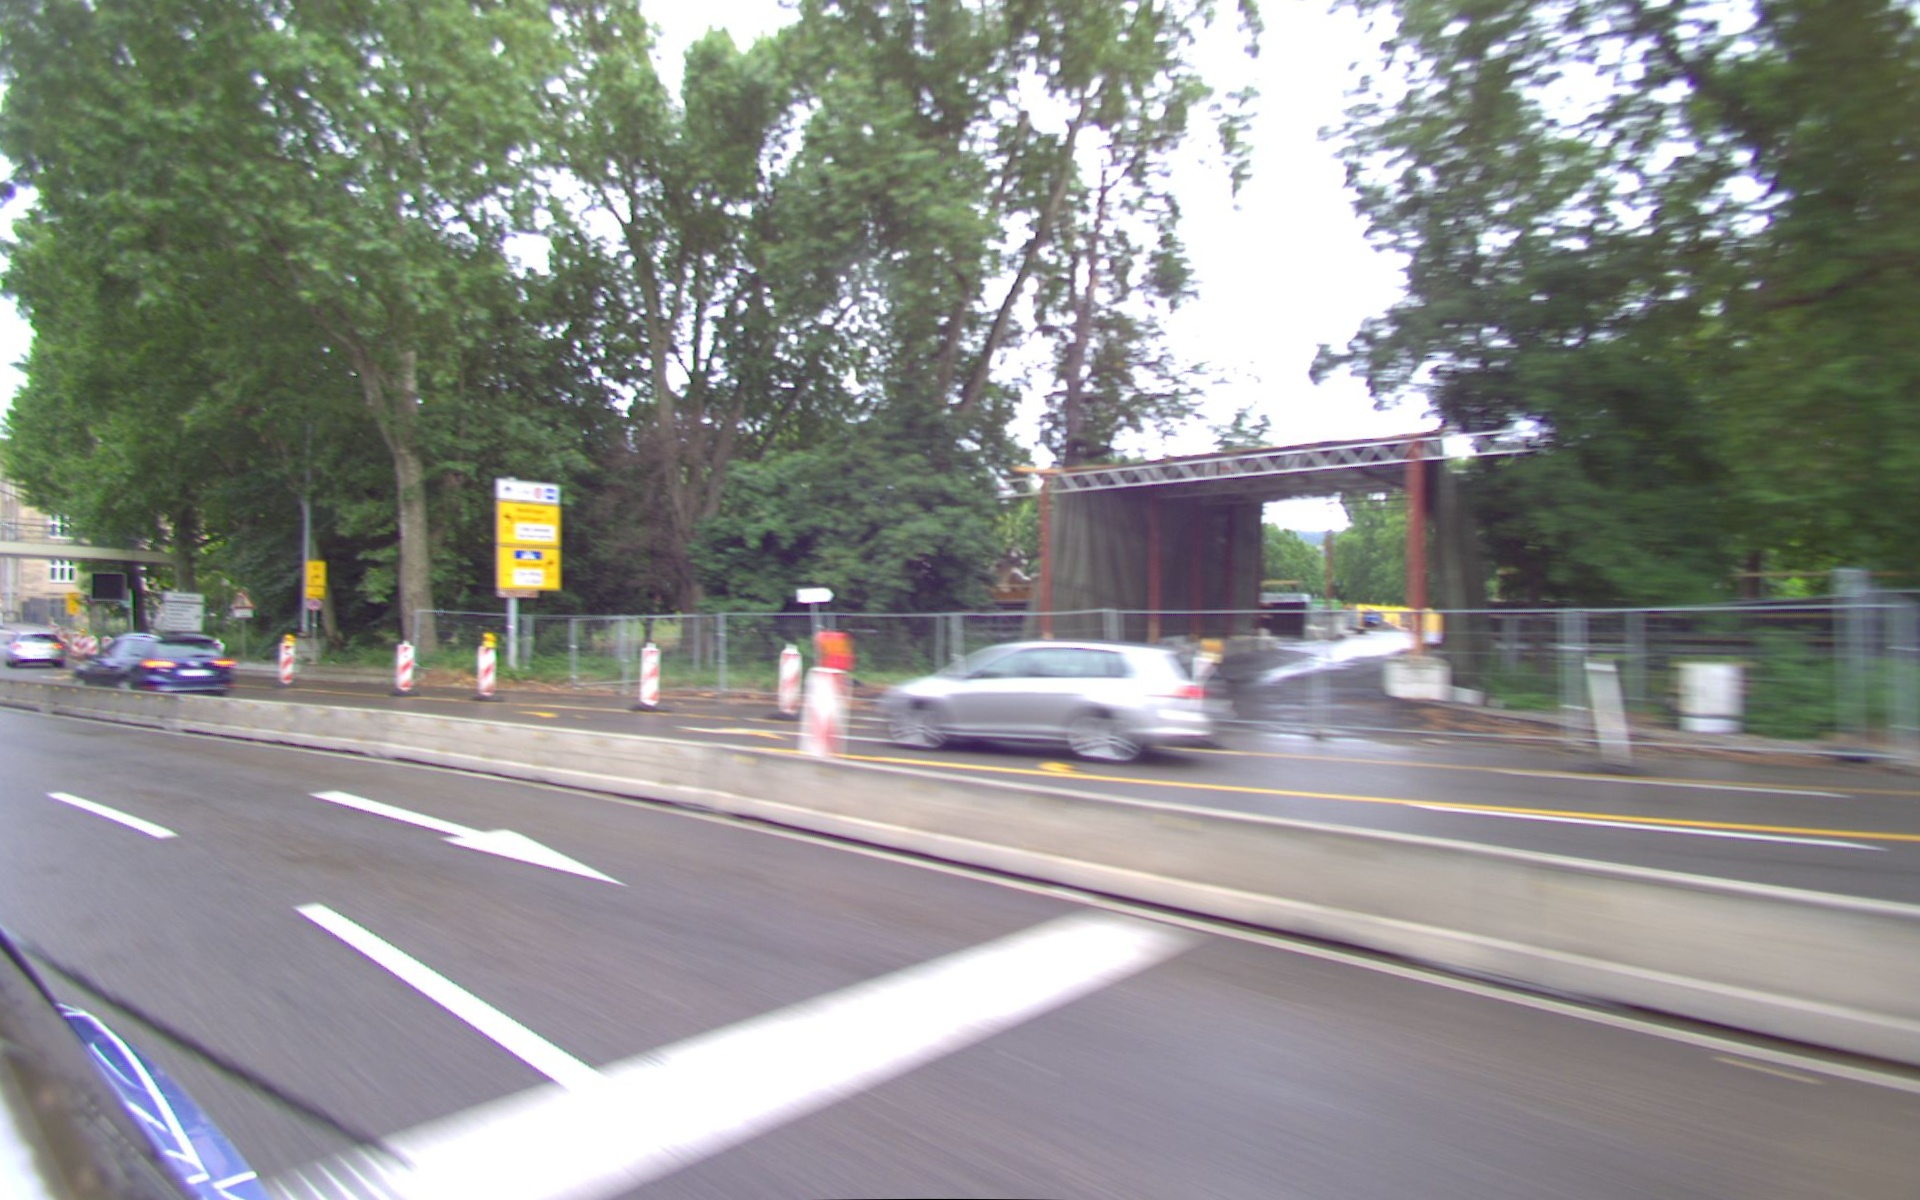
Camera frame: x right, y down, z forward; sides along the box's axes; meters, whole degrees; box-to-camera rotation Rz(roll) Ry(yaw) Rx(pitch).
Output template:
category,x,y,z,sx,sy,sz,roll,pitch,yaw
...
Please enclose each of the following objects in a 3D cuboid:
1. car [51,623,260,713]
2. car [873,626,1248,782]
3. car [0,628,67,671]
category,x,y,z,sx,sy,sz,roll,pitch,yaw
car,-17.083,1.373,21.441,4.565,1.552,1.978,2,-2,32
car,1.284,1.227,13.224,4.426,1.552,1.980,2,-2,29
car,-38.577,2.056,42.036,4.092,1.552,1.848,1,-2,44
